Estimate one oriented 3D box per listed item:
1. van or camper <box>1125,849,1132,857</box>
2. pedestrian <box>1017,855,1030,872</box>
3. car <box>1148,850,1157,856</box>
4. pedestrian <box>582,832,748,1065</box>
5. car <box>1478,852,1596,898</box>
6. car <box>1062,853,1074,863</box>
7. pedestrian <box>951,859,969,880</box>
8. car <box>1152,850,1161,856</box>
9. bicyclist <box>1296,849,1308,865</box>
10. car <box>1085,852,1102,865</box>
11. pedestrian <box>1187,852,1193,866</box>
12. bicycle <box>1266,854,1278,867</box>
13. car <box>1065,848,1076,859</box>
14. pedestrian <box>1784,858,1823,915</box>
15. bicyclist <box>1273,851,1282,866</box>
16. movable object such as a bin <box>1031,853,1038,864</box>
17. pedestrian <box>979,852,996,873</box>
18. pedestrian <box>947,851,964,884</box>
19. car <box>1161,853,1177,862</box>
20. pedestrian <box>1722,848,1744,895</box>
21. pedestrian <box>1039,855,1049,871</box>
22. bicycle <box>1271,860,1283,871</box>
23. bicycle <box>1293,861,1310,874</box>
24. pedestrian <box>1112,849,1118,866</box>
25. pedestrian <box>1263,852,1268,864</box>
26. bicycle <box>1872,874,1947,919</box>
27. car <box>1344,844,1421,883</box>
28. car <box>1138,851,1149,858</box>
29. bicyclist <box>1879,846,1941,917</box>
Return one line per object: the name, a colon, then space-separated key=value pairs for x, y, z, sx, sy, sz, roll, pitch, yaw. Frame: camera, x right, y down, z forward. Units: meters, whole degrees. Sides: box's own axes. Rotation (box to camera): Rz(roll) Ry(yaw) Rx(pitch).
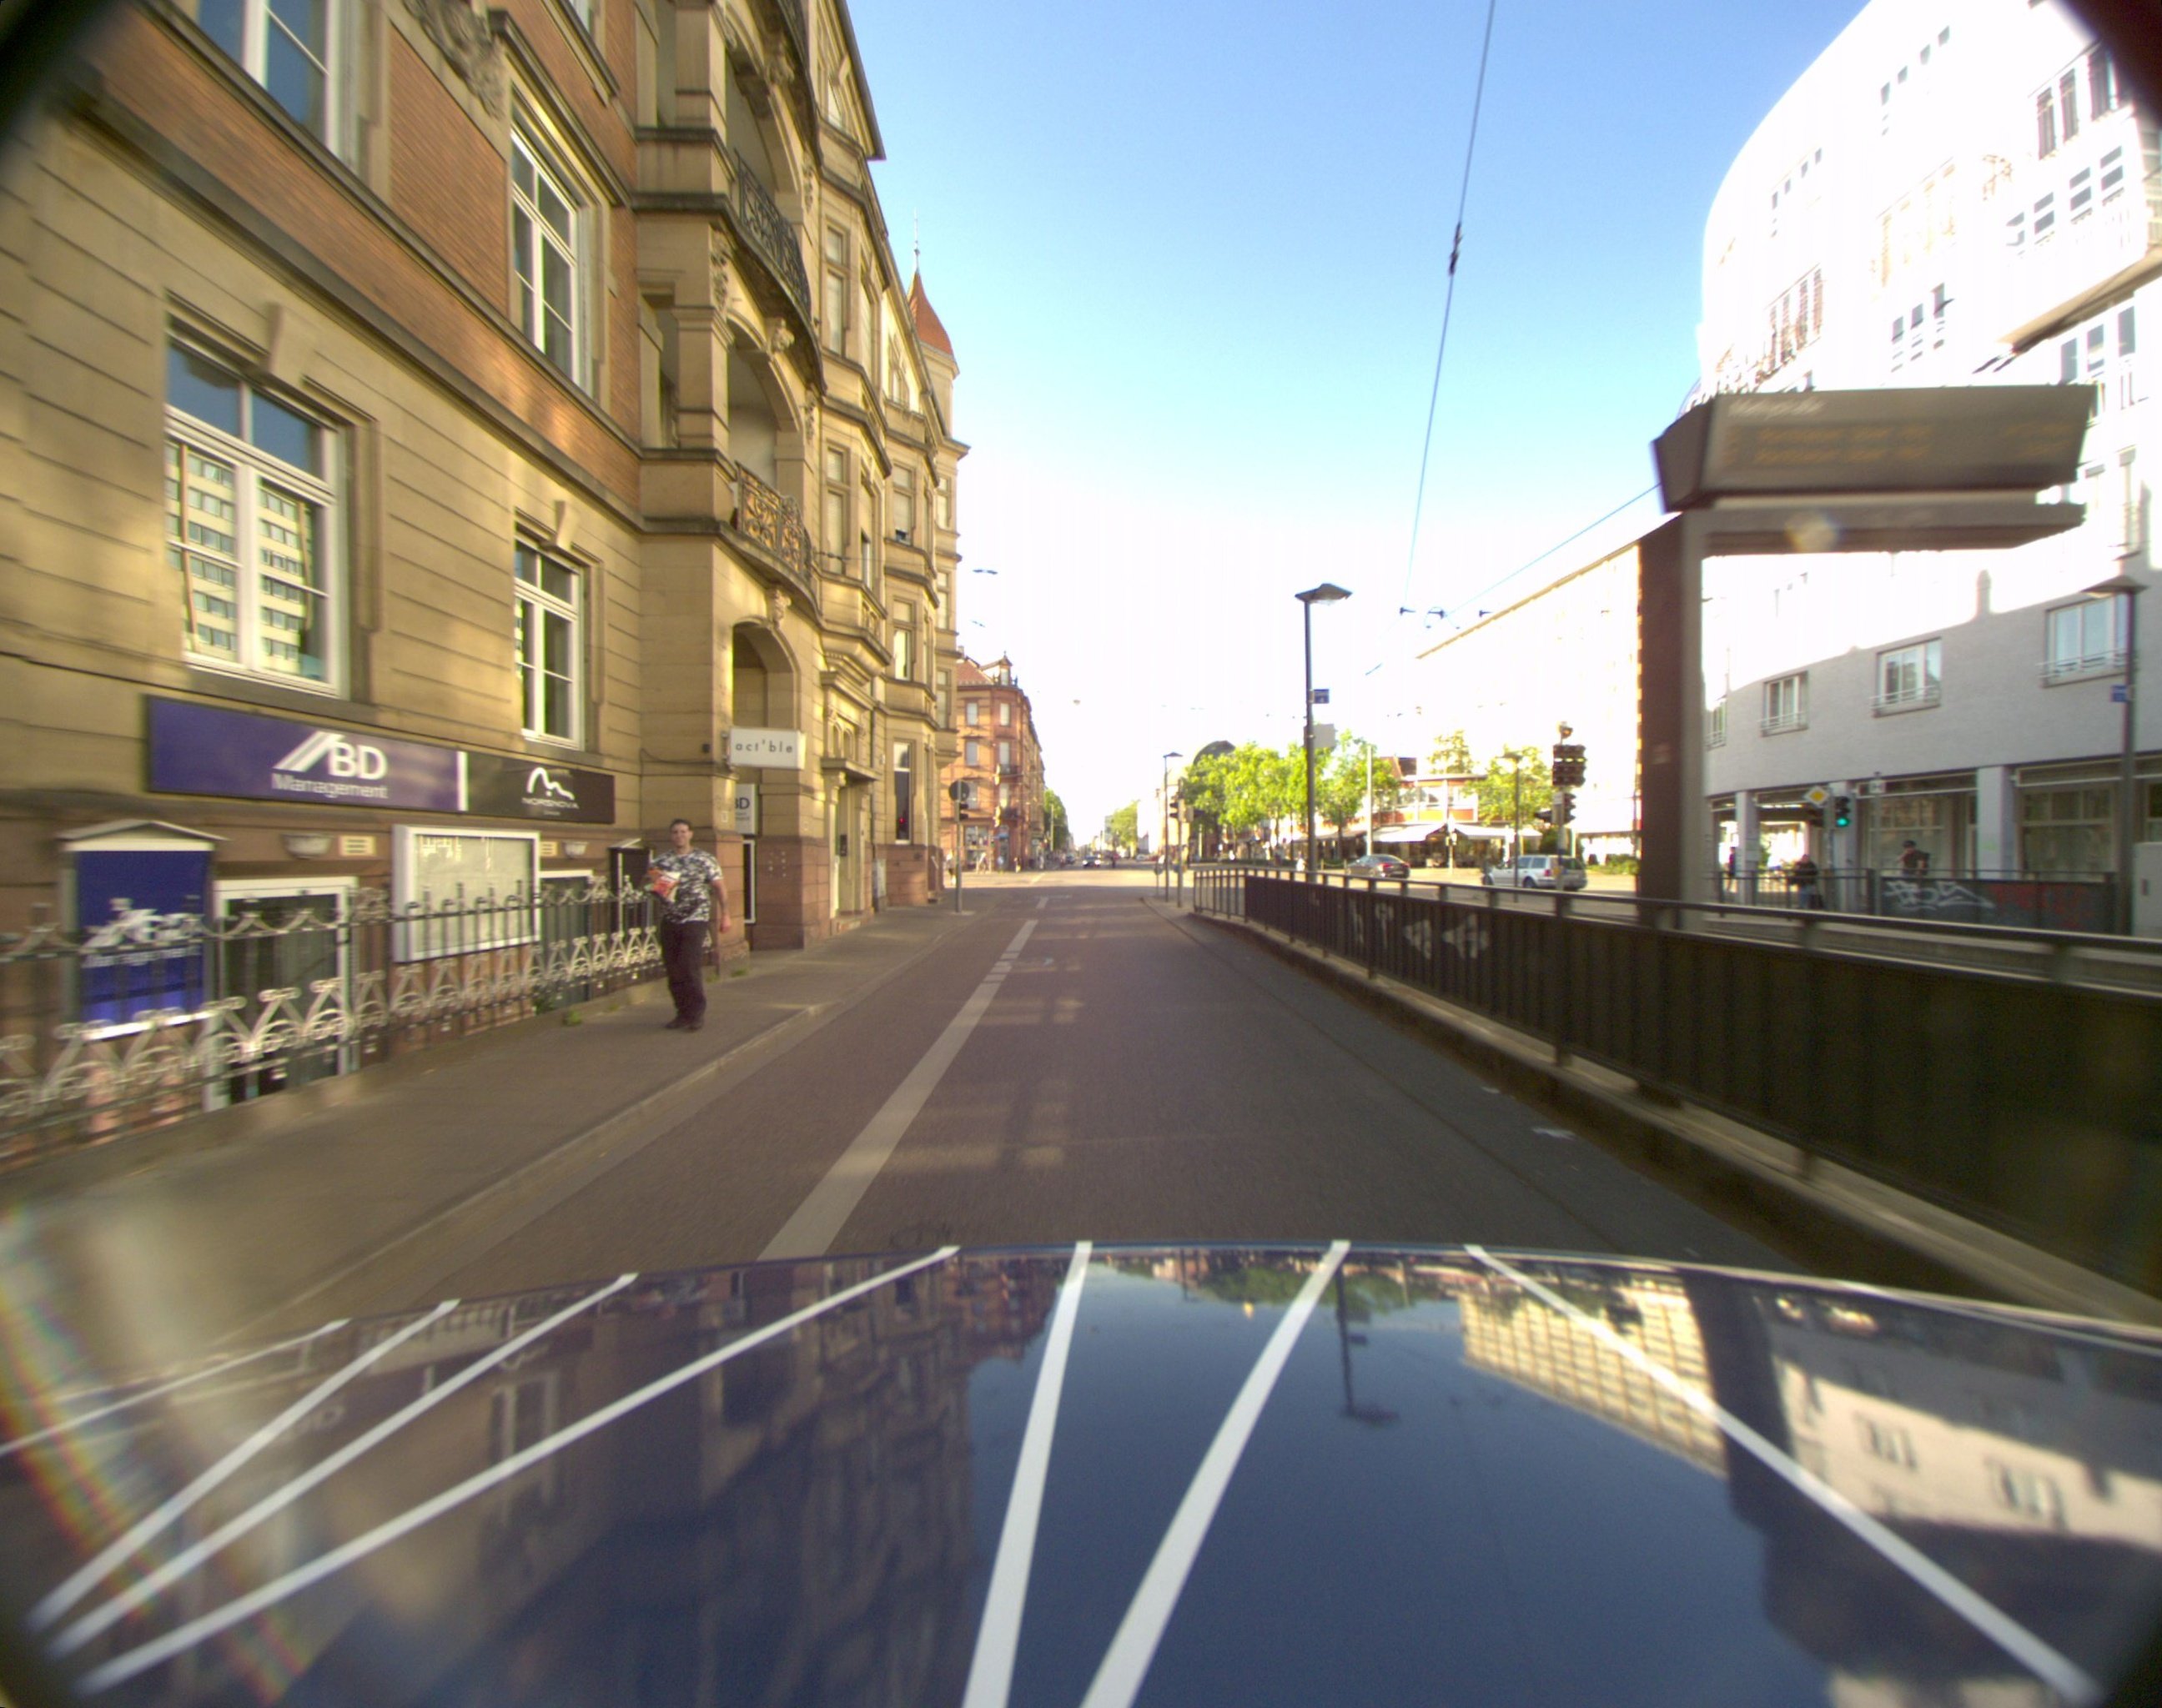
van or camper: x=16.265 y=-0.500 z=259.718 sx=2.041 sy=2.723 sz=7.019 roll=1 pitch=0 yaw=0
pedestrian: x=-5.129 y=0.852 z=67.775 sx=0.633 sy=1.529 sz=0.943 roll=1 pitch=2 yaw=32
car: x=17.821 y=-0.275 z=189.088 sx=1.856 sy=1.445 sz=3.853 roll=-1 pitch=0 yaw=0
pedestrian: x=-3.372 y=0.720 z=6.274 sx=0.782 sy=1.739 sz=1.093 roll=-1 pitch=-1 yaw=-2
car: x=16.805 y=0.723 z=28.311 sx=1.733 sy=1.506 sz=4.403 roll=-1 pitch=1 yaw=-1
car: x=-1.900 y=0.560 z=113.385 sx=1.694 sy=1.442 sz=4.359 roll=-2 pitch=0 yaw=0
pedestrian: x=-9.397 y=1.193 z=59.087 sx=0.927 sy=1.623 sz=1.006 roll=-2 pitch=3 yaw=-44
car: x=17.908 y=-0.262 z=179.427 sx=1.753 sy=1.445 sz=3.470 roll=-1 pitch=0 yaw=-1
bicyclist: x=17.796 y=0.225 z=61.174 sx=0.590 sy=1.278 sz=0.991 roll=0 pitch=2 yaw=-9
car: x=1.440 y=0.495 z=88.290 sx=1.815 sy=1.415 sz=4.153 roll=-2 pitch=1 yaw=0
pedestrian: x=11.625 y=0.511 z=81.158 sx=0.501 sy=1.509 sz=0.859 roll=1 pitch=1 yaw=0
bicycle: x=18.569 y=0.622 z=73.924 sx=0.498 sy=1.179 sz=2.235 roll=0 pitch=0 yaw=-1
car: x=-1.644 y=-0.084 z=125.508 sx=1.694 sy=1.703 sz=4.614 roll=-2 pitch=1 yaw=0
pedestrian: x=19.632 y=0.872 z=20.640 sx=0.443 sy=1.525 sz=0.682 roll=-1 pitch=-1 yaw=-36
bicyclist: x=17.563 y=0.387 z=67.925 sx=0.590 sy=1.278 sz=0.926 roll=0 pitch=2 yaw=1
movable object such as a bin: x=-4.922 y=0.465 z=80.066 sx=0.664 sy=1.066 sz=0.545 roll=3 pitch=1 yaw=2
pedestrian: x=-7.413 y=0.693 z=59.979 sx=0.939 sy=1.623 sz=0.927 roll=1 pitch=2 yaw=35
pedestrian: x=-6.265 y=0.675 z=37.939 sx=0.702 sy=1.645 sz=0.632 roll=0 pitch=2 yaw=0
car: x=13.773 y=0.536 z=119.163 sx=1.999 sy=1.443 sz=4.649 roll=0 pitch=0 yaw=-1
pedestrian: x=25.321 y=0.667 z=29.510 sx=0.747 sy=1.822 sz=0.460 roll=0 pitch=0 yaw=-38
pedestrian: x=-3.776 y=0.891 z=77.410 sx=0.684 sy=1.598 sz=0.729 roll=-1 pitch=1 yaw=-28
bicycle: x=17.559 y=1.007 z=67.988 sx=0.595 sy=0.967 sz=1.817 roll=0 pitch=2 yaw=1
bicycle: x=17.766 y=1.058 z=61.345 sx=0.596 sy=0.967 sz=1.852 roll=0 pitch=2 yaw=-9
pedestrian: x=3.577 y=0.402 z=79.501 sx=0.559 sy=1.753 sz=0.895 roll=1 pitch=1 yaw=0
pedestrian: x=26.961 y=0.555 z=110.799 sx=0.574 sy=1.762 sz=0.706 roll=0 pitch=1 yaw=1
bicycle: x=20.250 y=1.004 z=18.616 sx=0.676 sy=0.974 sz=1.765 roll=0 pitch=1 yaw=28
car: x=15.833 y=0.444 z=40.221 sx=2.233 sy=1.900 sz=4.608 roll=-1 pitch=1 yaw=-1
car: x=13.511 y=0.075 z=164.968 sx=1.999 sy=1.443 sz=4.501 roll=0 pitch=0 yaw=-1
bicyclist: x=20.243 y=0.652 z=18.578 sx=0.722 sy=1.686 sz=1.031 roll=0 pitch=1 yaw=28
